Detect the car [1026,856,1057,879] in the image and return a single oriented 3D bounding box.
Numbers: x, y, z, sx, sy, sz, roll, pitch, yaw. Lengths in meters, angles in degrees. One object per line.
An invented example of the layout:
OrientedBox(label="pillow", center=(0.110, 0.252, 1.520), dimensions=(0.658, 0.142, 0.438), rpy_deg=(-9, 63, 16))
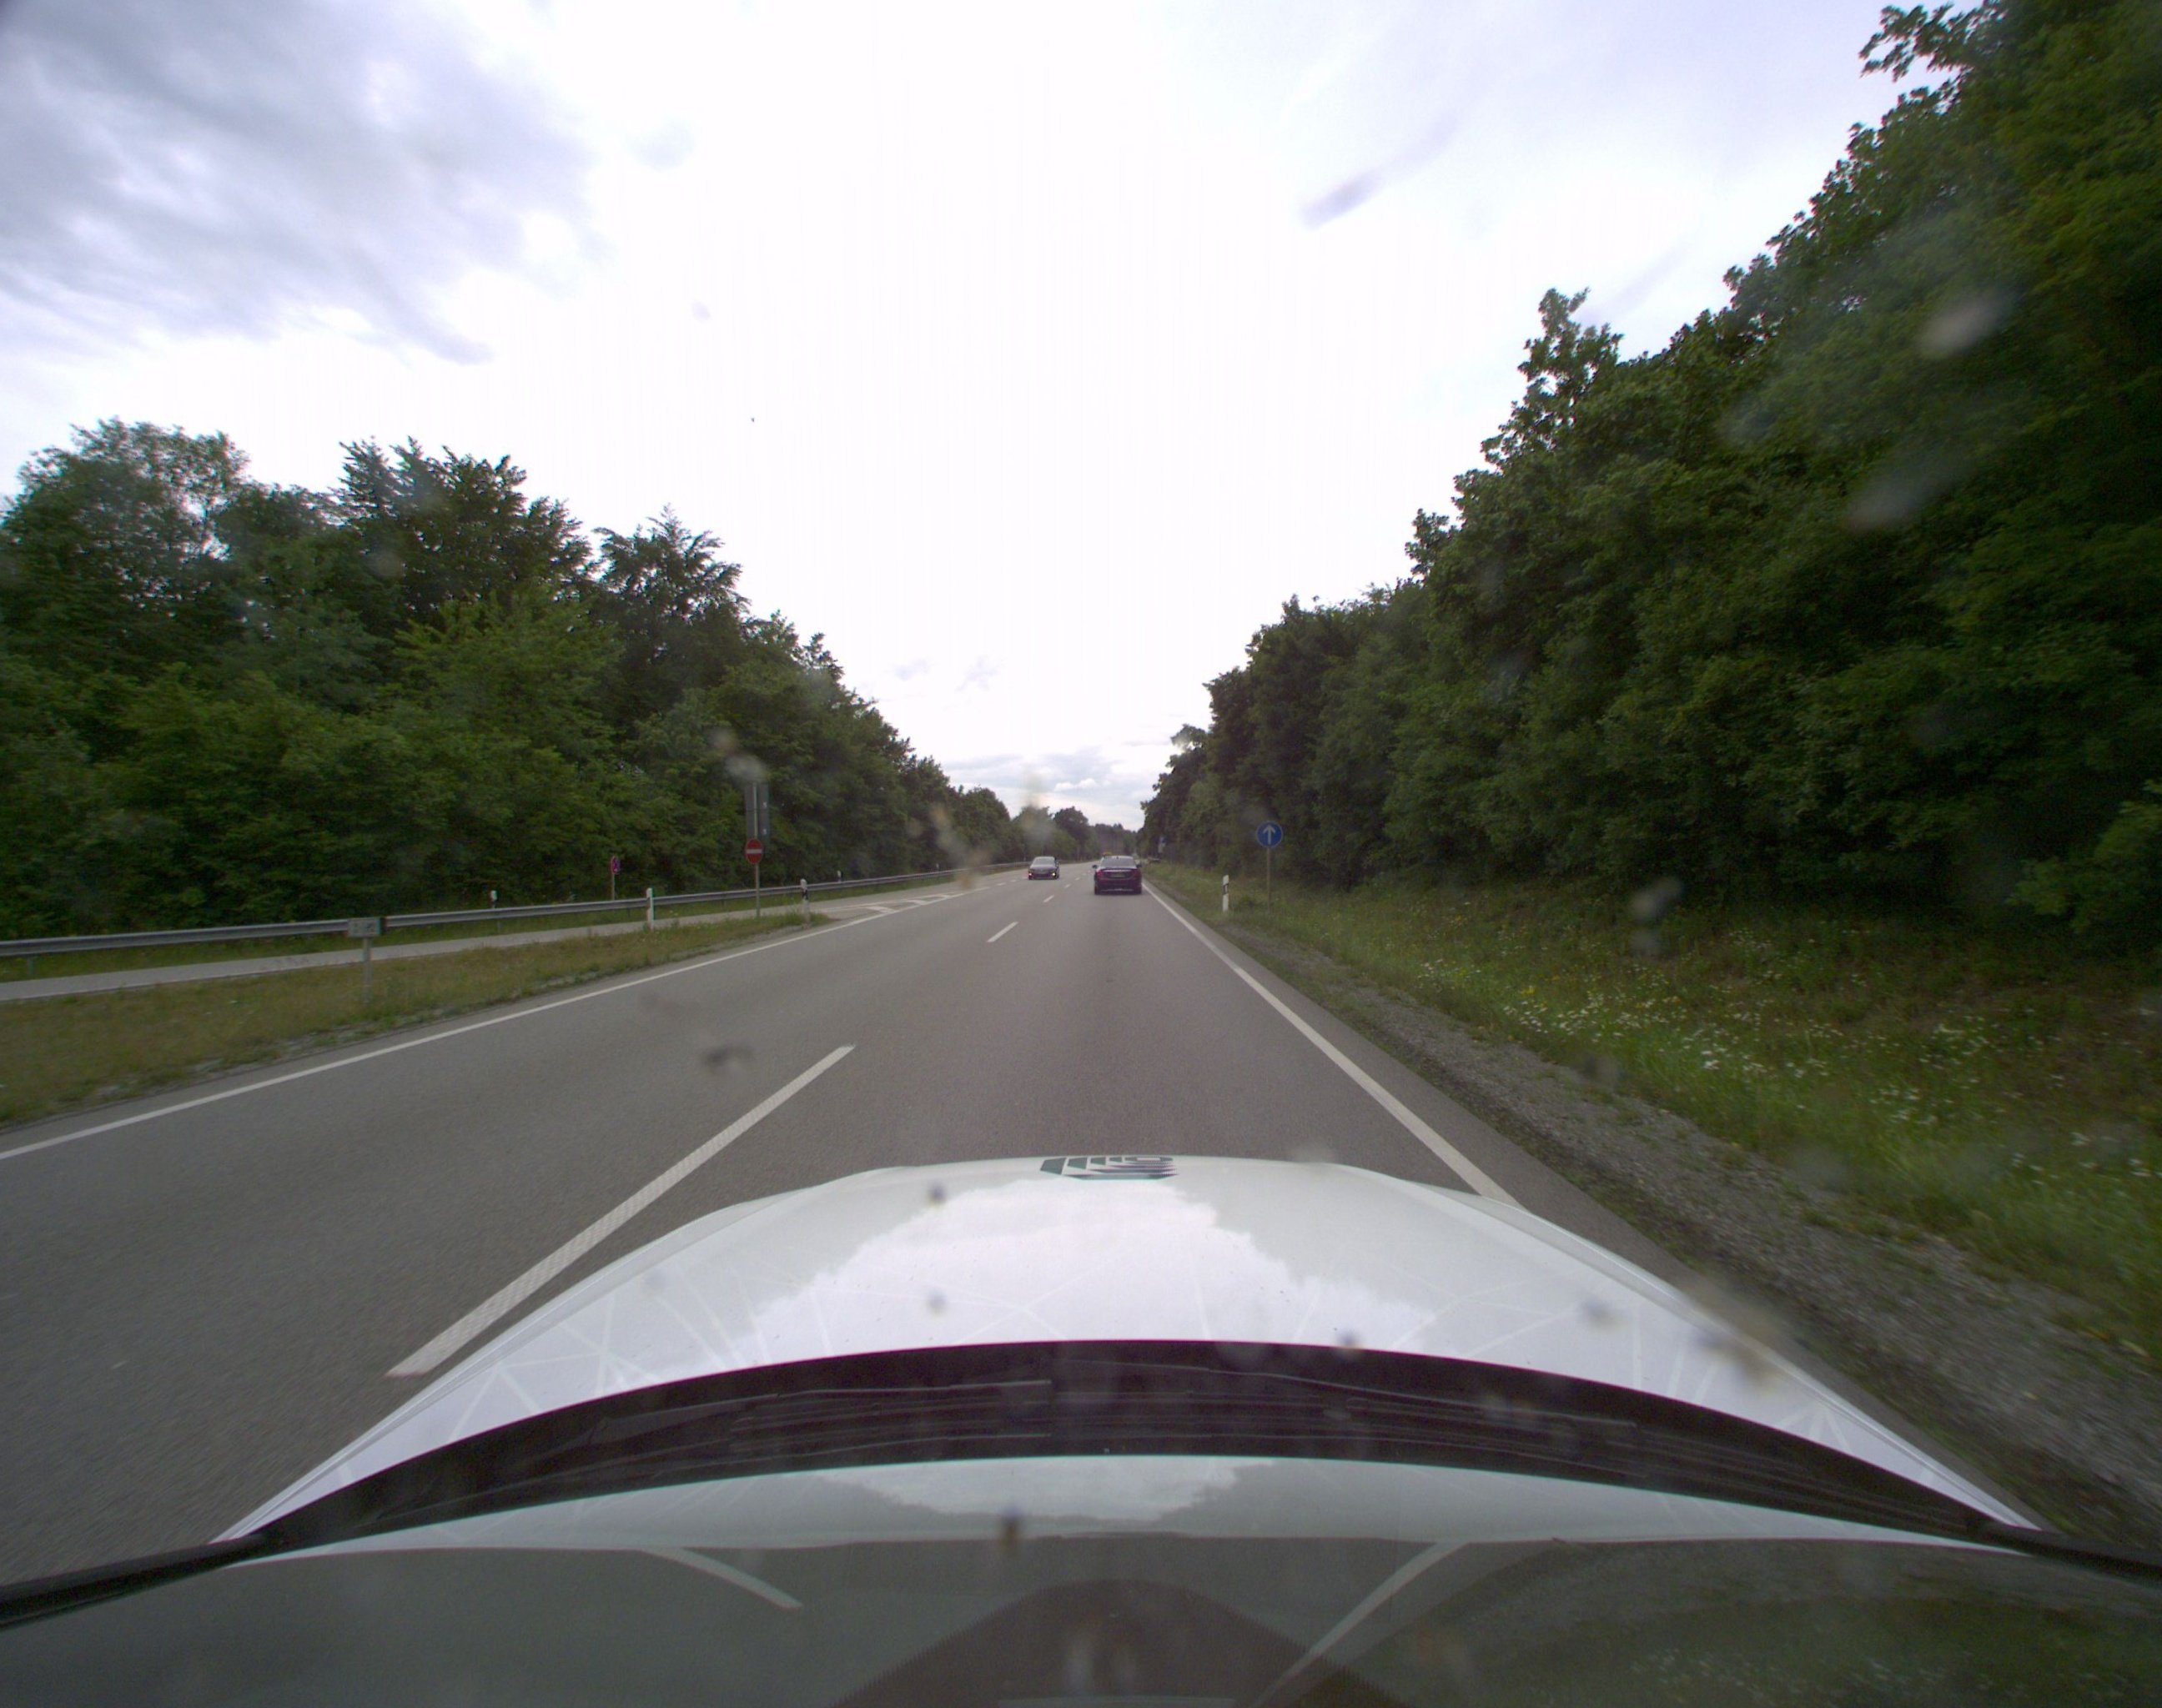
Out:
OrientedBox(label="car", center=(-2.570, 0.860, 53.692), dimensions=(1.802, 1.442, 4.447), rpy_deg=(-1, 0, 0))

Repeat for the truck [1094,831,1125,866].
OrientedBox(label="truck", center=(3.250, -0.576, 91.439), dimensions=(3.268, 3.611, 11.405), rpy_deg=(-1, 0, 2))

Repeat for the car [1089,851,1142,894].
OrientedBox(label="car", center=(1.298, 0.689, 32.081), dimensions=(1.787, 1.552, 3.997), rpy_deg=(-1, 0, -2))
